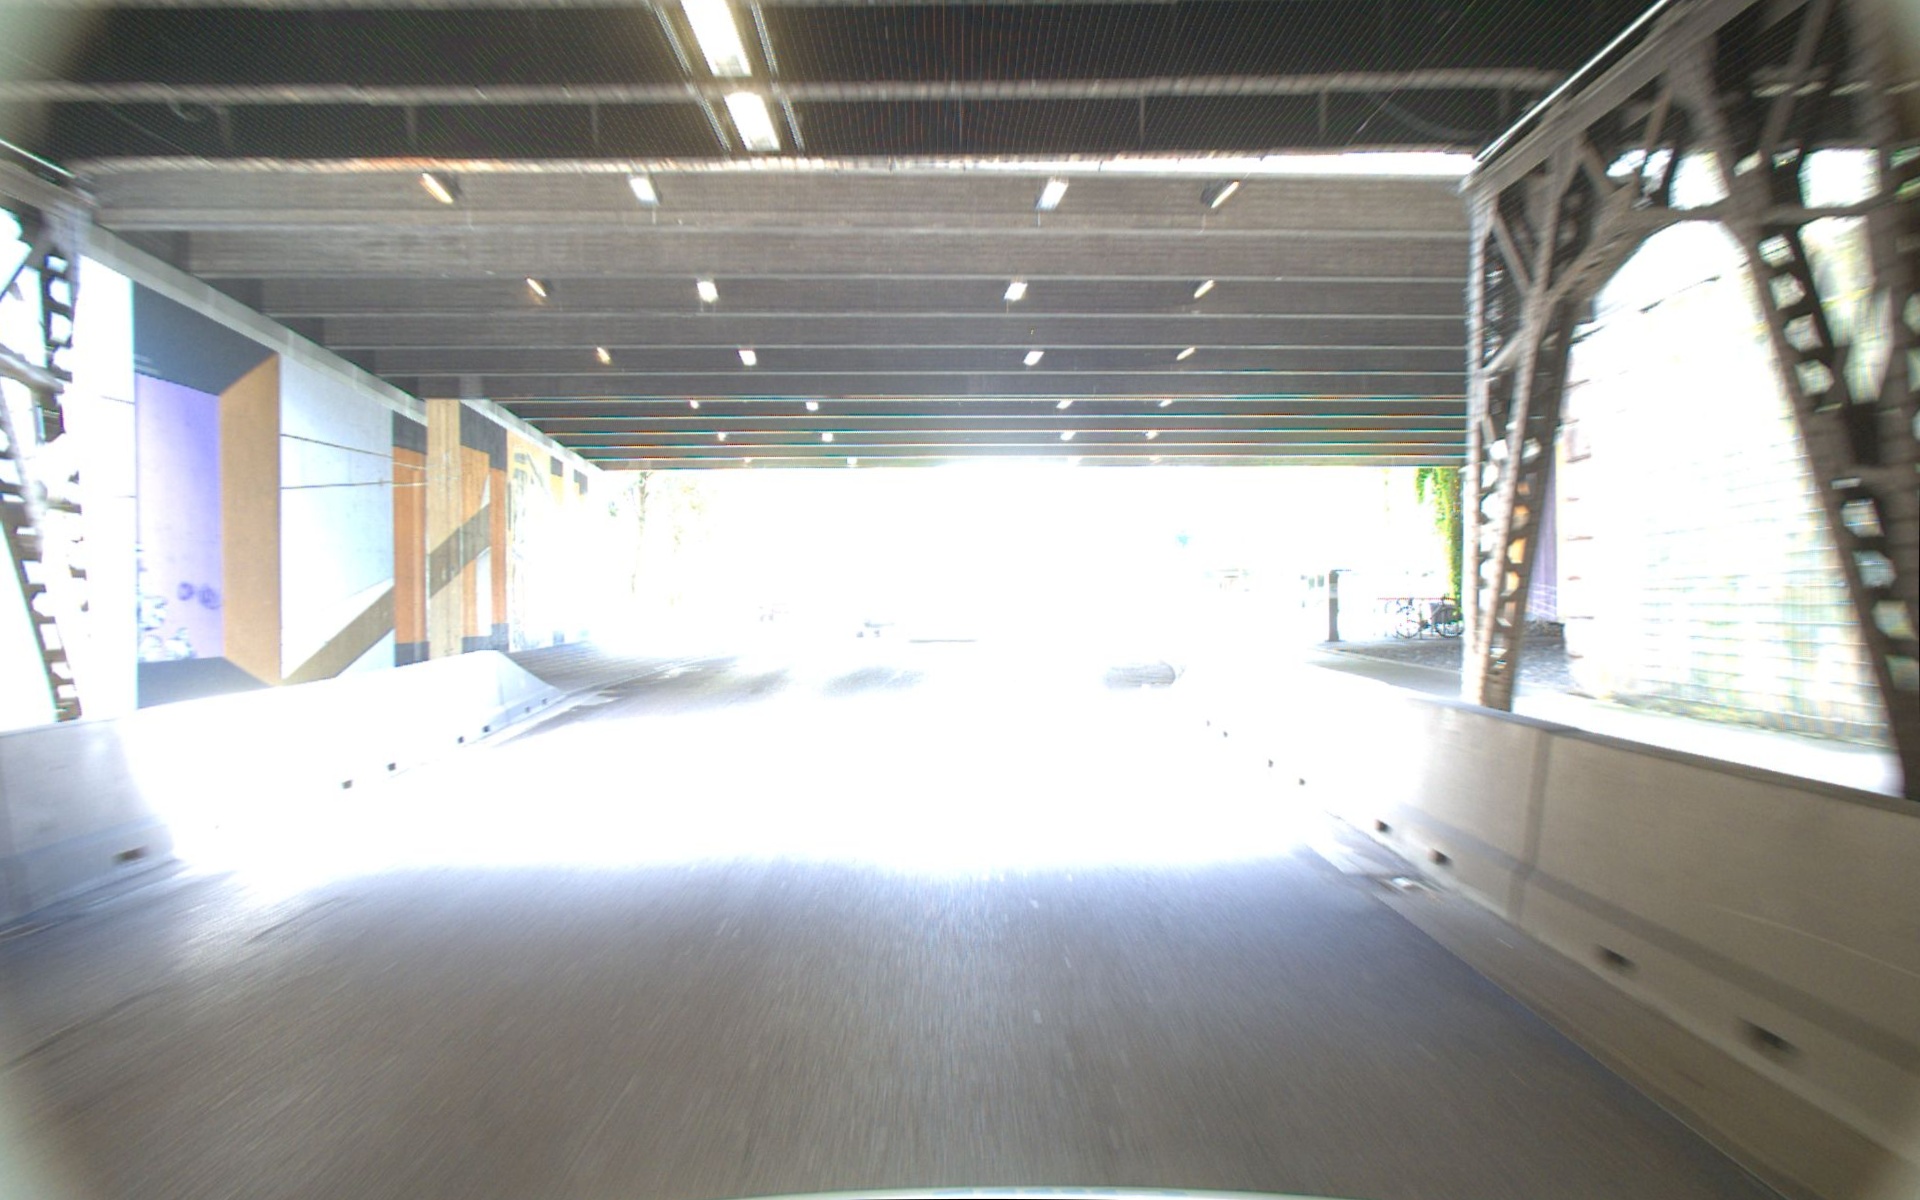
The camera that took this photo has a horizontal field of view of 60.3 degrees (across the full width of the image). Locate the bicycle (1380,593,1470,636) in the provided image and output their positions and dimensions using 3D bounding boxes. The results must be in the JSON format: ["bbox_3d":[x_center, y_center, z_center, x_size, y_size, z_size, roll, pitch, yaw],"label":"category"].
[{"bbox_3d":[10.680,0.335,37.997,1.906,0.920,0.506,-1,-1,-2],"label":"bicycle"}]

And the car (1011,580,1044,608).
[{"bbox_3d":[3.846,-0.320,94.465,1.786,1.546,4.234,-1,0,1],"label":"car"}]

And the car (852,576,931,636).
[{"bbox_3d":[-1.995,0.145,49.365,1.787,1.682,4.217,-1,0,5],"label":"car"}]

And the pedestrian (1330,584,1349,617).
[{"bbox_3d":[19.736,0.021,86.016,0.686,1.704,0.613,0,0,-22],"label":"pedestrian"}]

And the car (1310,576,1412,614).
[{"bbox_3d":[18.899,-0.238,78.167,4.577,1.717,2.002,-1,0,12],"label":"car"}]

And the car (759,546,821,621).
[{"bbox_3d":[-6.424,-0.623,62.937,1.928,2.652,5.928,1,0,-2],"label":"car"}]

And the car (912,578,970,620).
[{"bbox_3d":[-0.695,-0.056,62.264,1.636,1.473,3.856,-1,0,7],"label":"car"}]

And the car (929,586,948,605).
[{"bbox_3d":[-1.977,-0.426,150.905,1.675,1.742,3.999,0,1,-1],"label":"car"}]

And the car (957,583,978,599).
[{"bbox_3d":[0.617,-0.788,141.120,1.675,1.378,3.999,0,1,-1],"label":"car"}]

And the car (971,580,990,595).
[{"bbox_3d":[1.943,-1.226,158.974,1.675,1.378,3.999,0,1,-1],"label":"car"}]
